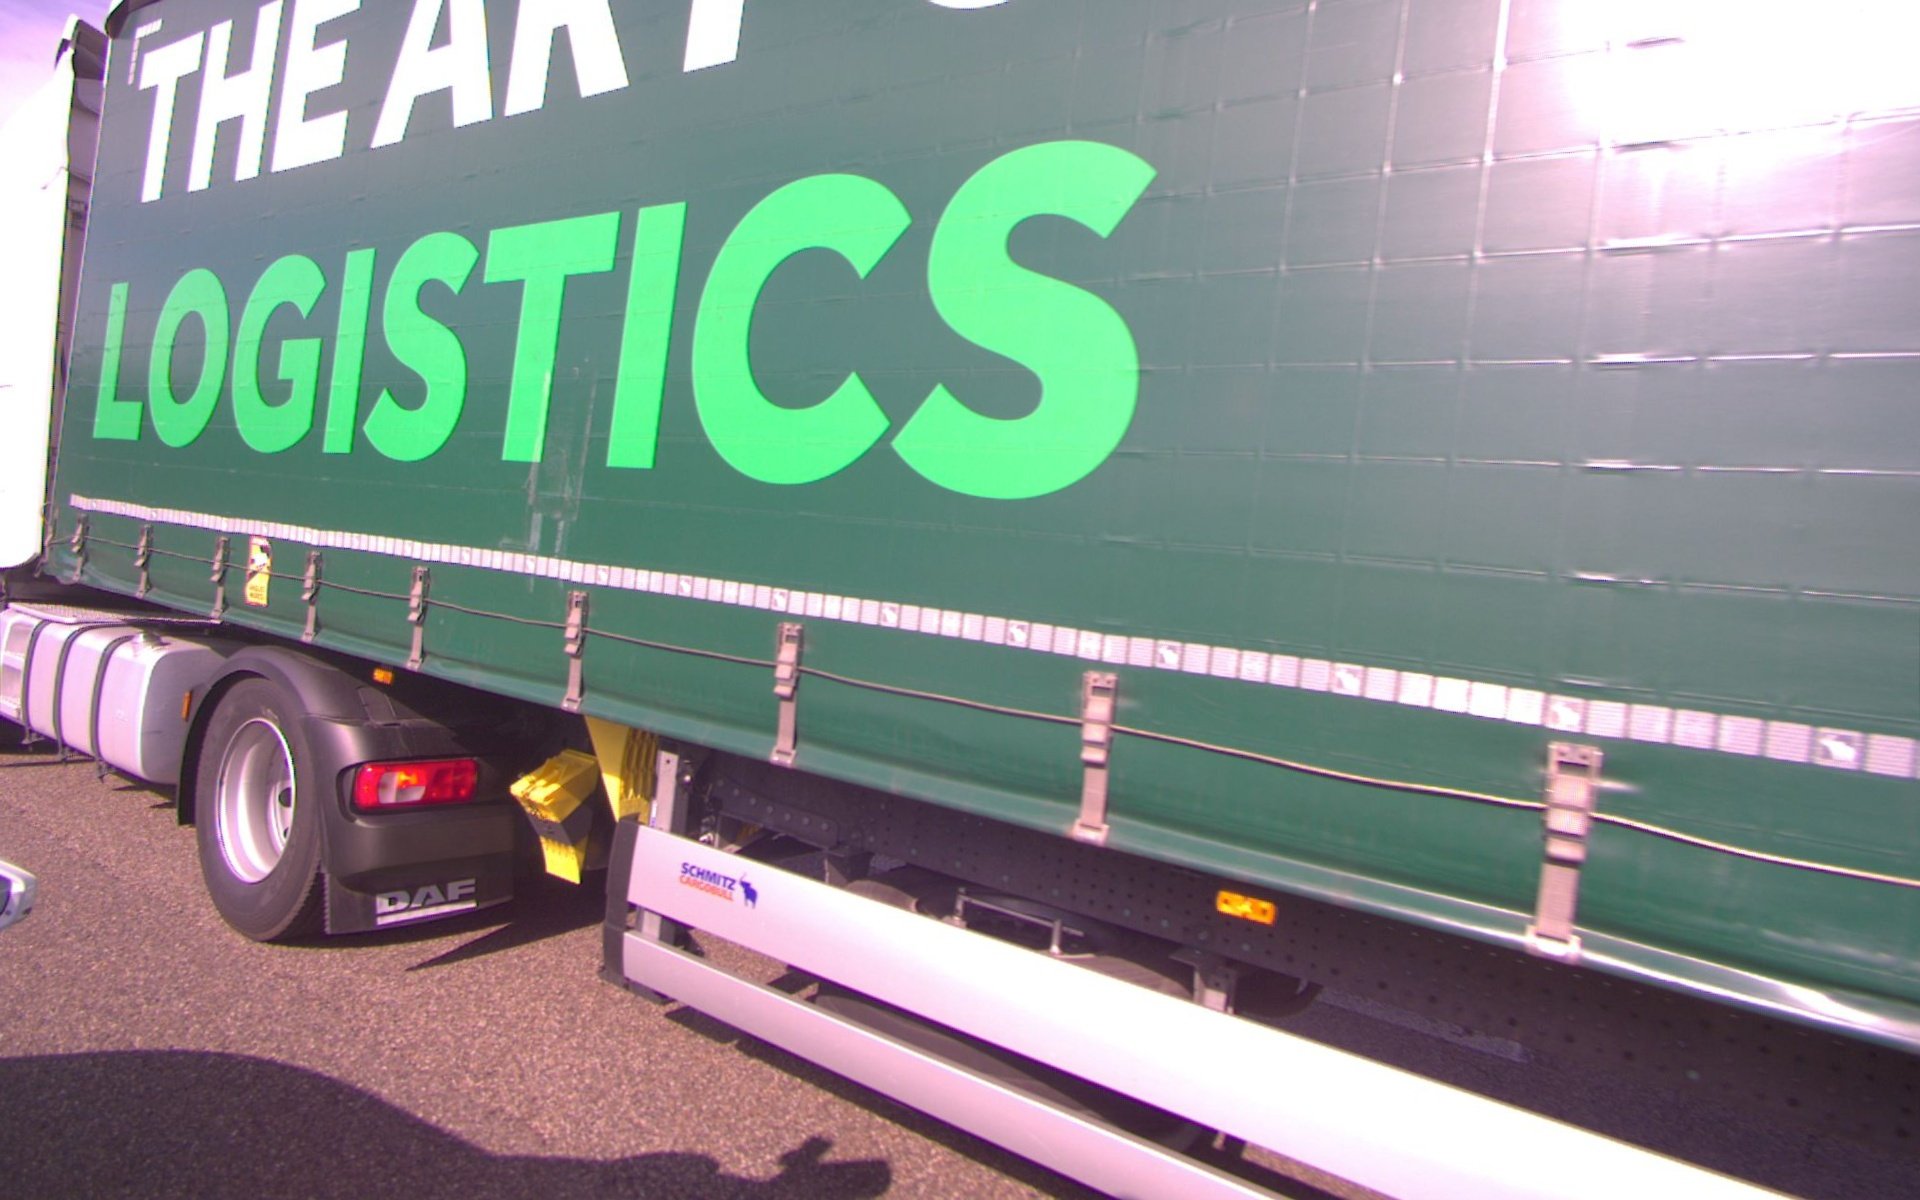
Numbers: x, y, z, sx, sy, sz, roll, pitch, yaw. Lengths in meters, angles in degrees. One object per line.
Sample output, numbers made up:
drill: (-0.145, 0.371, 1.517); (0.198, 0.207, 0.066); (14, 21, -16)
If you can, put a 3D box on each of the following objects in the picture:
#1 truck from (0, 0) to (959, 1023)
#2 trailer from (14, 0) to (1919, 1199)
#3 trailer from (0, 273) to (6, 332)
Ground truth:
truck: (-3.820, -0.879, 5.960); (6.880, 3.914, 2.651); (6, -1, 32)
trailer: (2.255, -0.199, 2.151); (13.173, 3.914, 2.666); (6, -1, 32)
trailer: (-18.518, -2.868, 15.110); (12.730, 4.131, 2.706); (7, 0, 32)
